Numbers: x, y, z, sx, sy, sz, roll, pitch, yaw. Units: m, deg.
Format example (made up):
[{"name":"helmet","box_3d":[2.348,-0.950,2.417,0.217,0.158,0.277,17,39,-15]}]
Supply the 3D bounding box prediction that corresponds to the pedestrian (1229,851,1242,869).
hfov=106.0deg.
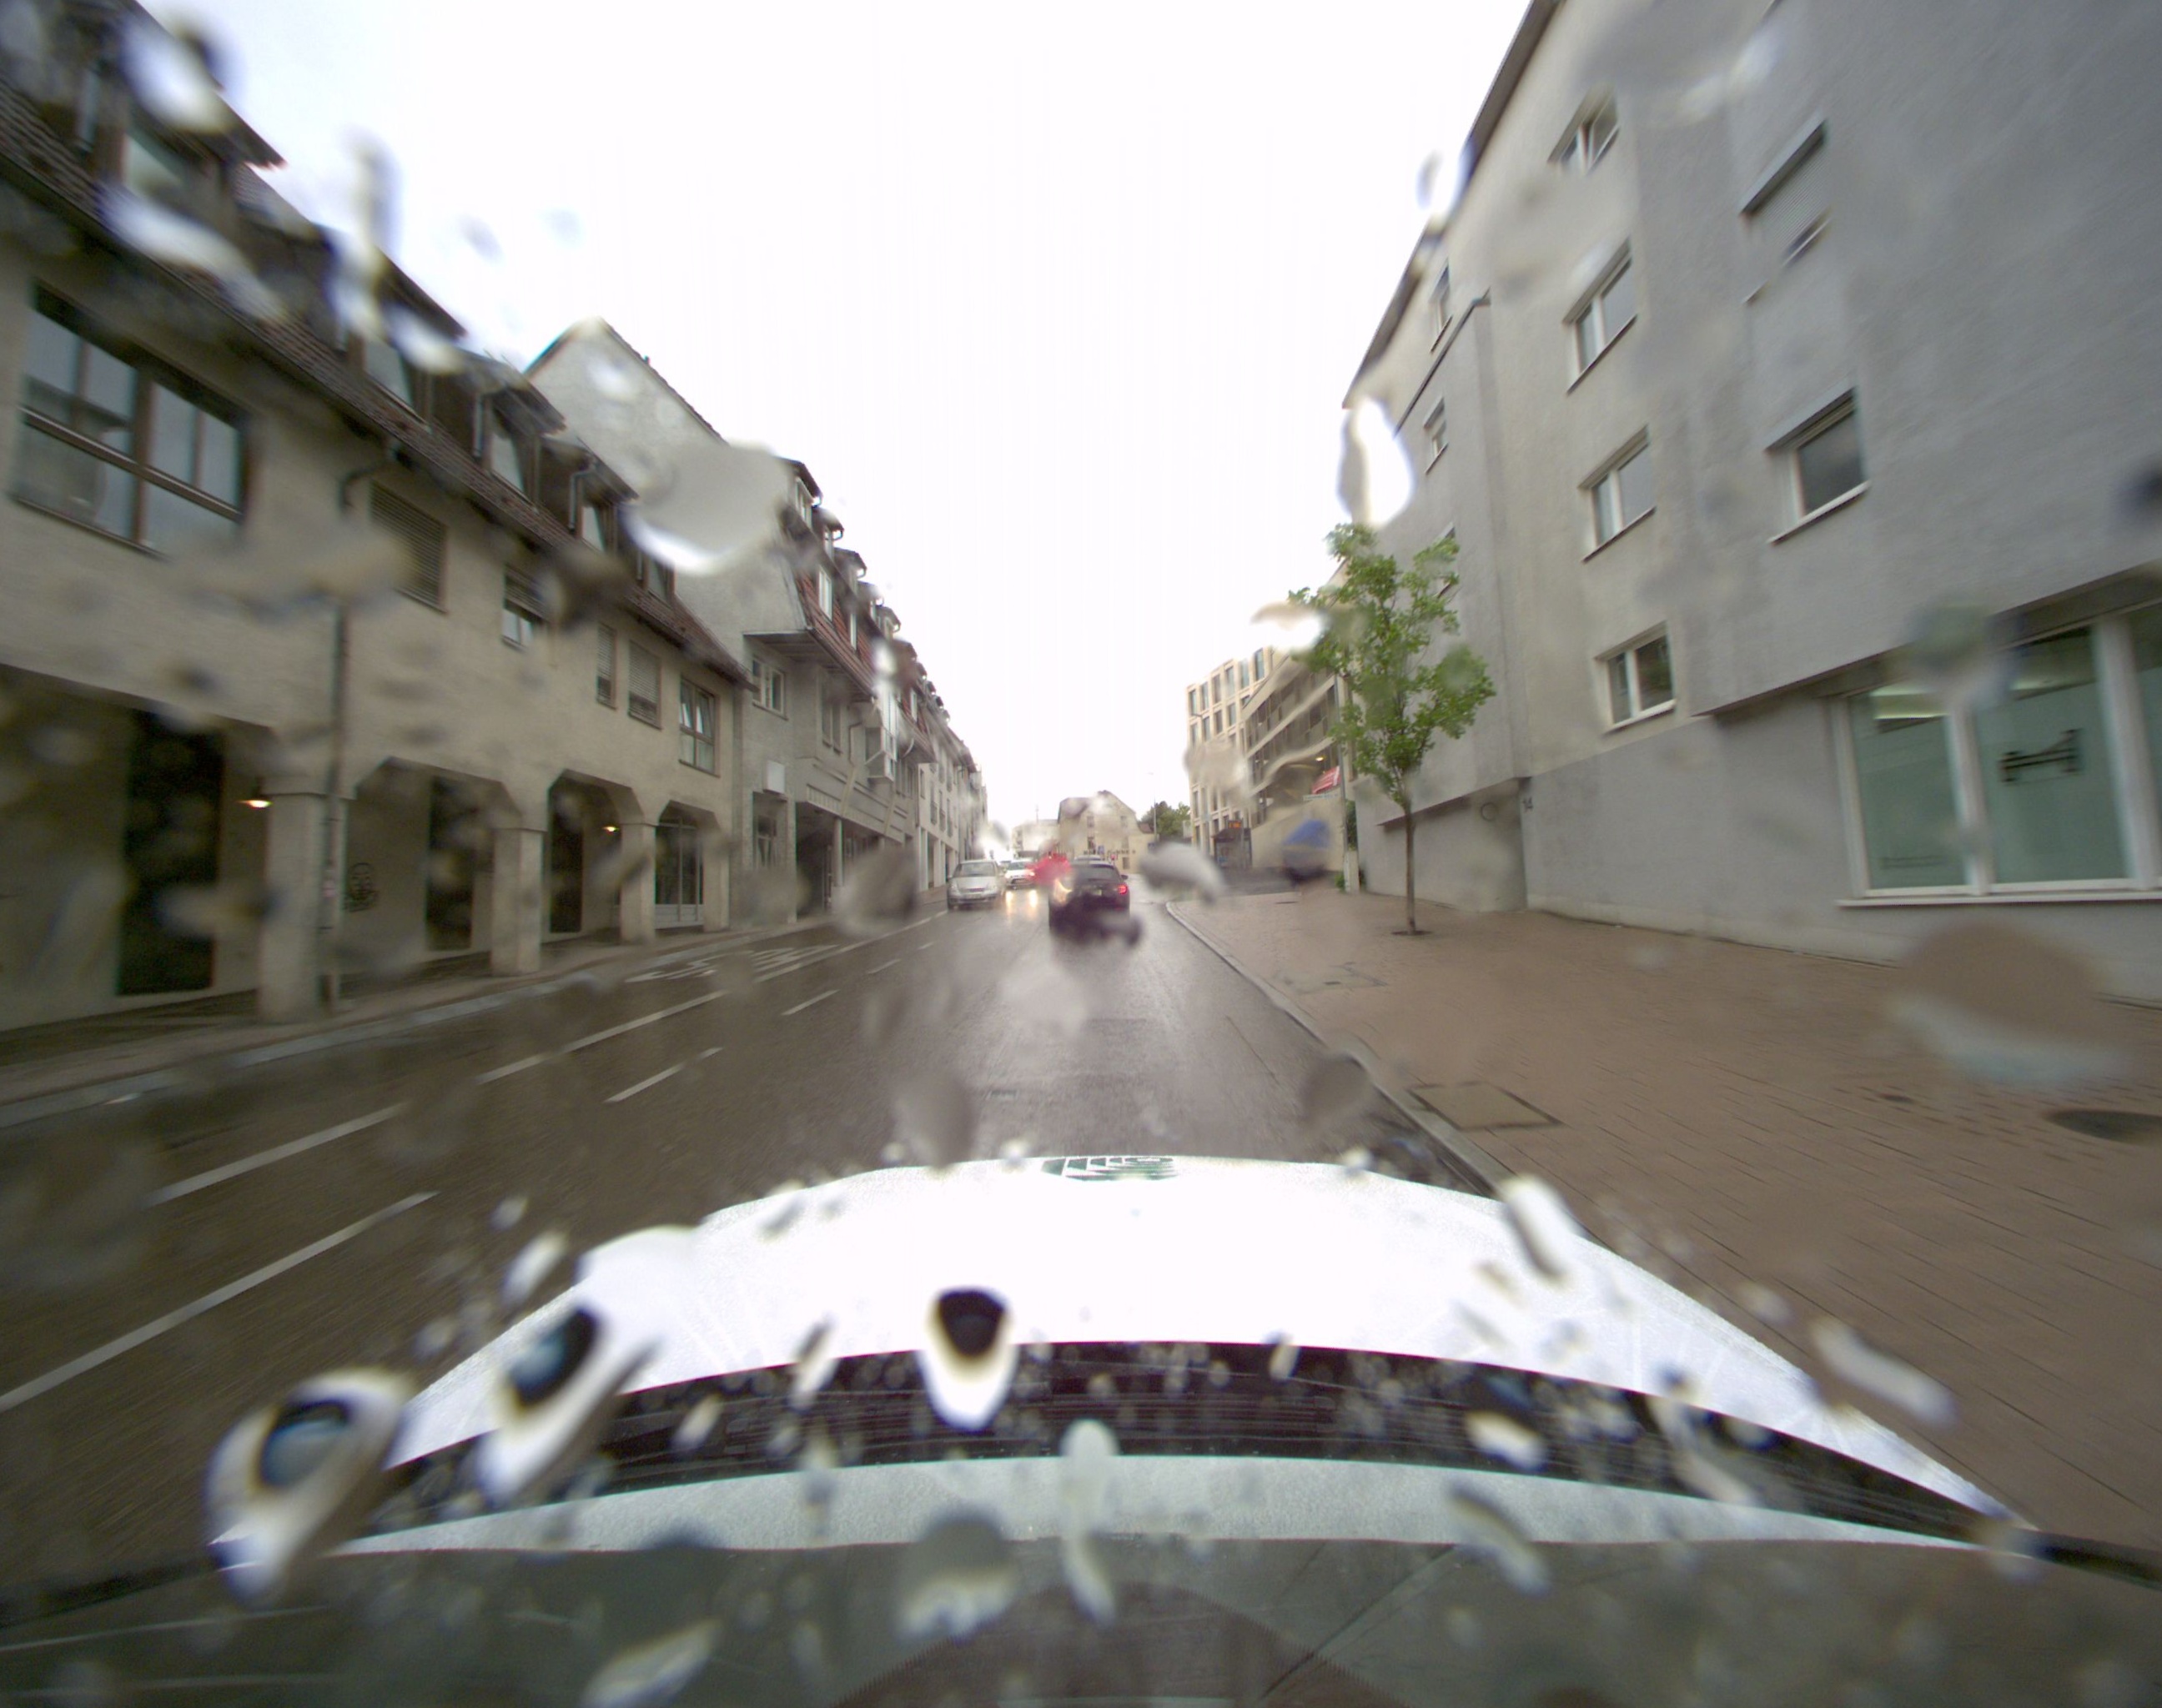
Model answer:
[{"name":"pedestrian","box_3d":[10.332,0.416,54.525,0.669,1.162,0.635,-4,-1,1]}]

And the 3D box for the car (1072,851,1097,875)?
[{"name":"car","box_3d":[0.283,0.625,58.049,1.675,1.560,4.000,-3,0,1]}]

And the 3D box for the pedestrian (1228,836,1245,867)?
[{"name":"pedestrian","box_3d":[10.113,-0.133,52.932,0.779,1.940,1.021,-4,-1,1]}]

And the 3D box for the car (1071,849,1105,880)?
[{"name":"car","box_3d":[0.337,0.546,43.184,1.672,1.510,3.586,-2,0,-2]}]

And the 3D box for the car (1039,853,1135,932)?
[{"name":"car","box_3d":[0.064,0.818,19.127,1.939,1.567,4.414,-2,0,-2]}]

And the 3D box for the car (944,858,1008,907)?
[{"name":"car","box_3d":[-3.522,0.928,27.937,1.672,1.510,3.588,-2,0,0]}]

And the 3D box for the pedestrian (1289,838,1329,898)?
[{"name":"pedestrian","box_3d":[6.266,0.384,22.456,0.732,1.542,1.039,-5,-1,4]}]

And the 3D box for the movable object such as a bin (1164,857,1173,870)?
[{"name":"movable object such as a bin","box_3d":[7.010,0.747,65.395,0.593,1.062,0.579,-3,-1,0]}]

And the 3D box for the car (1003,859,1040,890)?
[{"name":"car","box_3d":[-3.092,1.059,42.964,1.672,1.510,3.586,-2,0,-2]}]
